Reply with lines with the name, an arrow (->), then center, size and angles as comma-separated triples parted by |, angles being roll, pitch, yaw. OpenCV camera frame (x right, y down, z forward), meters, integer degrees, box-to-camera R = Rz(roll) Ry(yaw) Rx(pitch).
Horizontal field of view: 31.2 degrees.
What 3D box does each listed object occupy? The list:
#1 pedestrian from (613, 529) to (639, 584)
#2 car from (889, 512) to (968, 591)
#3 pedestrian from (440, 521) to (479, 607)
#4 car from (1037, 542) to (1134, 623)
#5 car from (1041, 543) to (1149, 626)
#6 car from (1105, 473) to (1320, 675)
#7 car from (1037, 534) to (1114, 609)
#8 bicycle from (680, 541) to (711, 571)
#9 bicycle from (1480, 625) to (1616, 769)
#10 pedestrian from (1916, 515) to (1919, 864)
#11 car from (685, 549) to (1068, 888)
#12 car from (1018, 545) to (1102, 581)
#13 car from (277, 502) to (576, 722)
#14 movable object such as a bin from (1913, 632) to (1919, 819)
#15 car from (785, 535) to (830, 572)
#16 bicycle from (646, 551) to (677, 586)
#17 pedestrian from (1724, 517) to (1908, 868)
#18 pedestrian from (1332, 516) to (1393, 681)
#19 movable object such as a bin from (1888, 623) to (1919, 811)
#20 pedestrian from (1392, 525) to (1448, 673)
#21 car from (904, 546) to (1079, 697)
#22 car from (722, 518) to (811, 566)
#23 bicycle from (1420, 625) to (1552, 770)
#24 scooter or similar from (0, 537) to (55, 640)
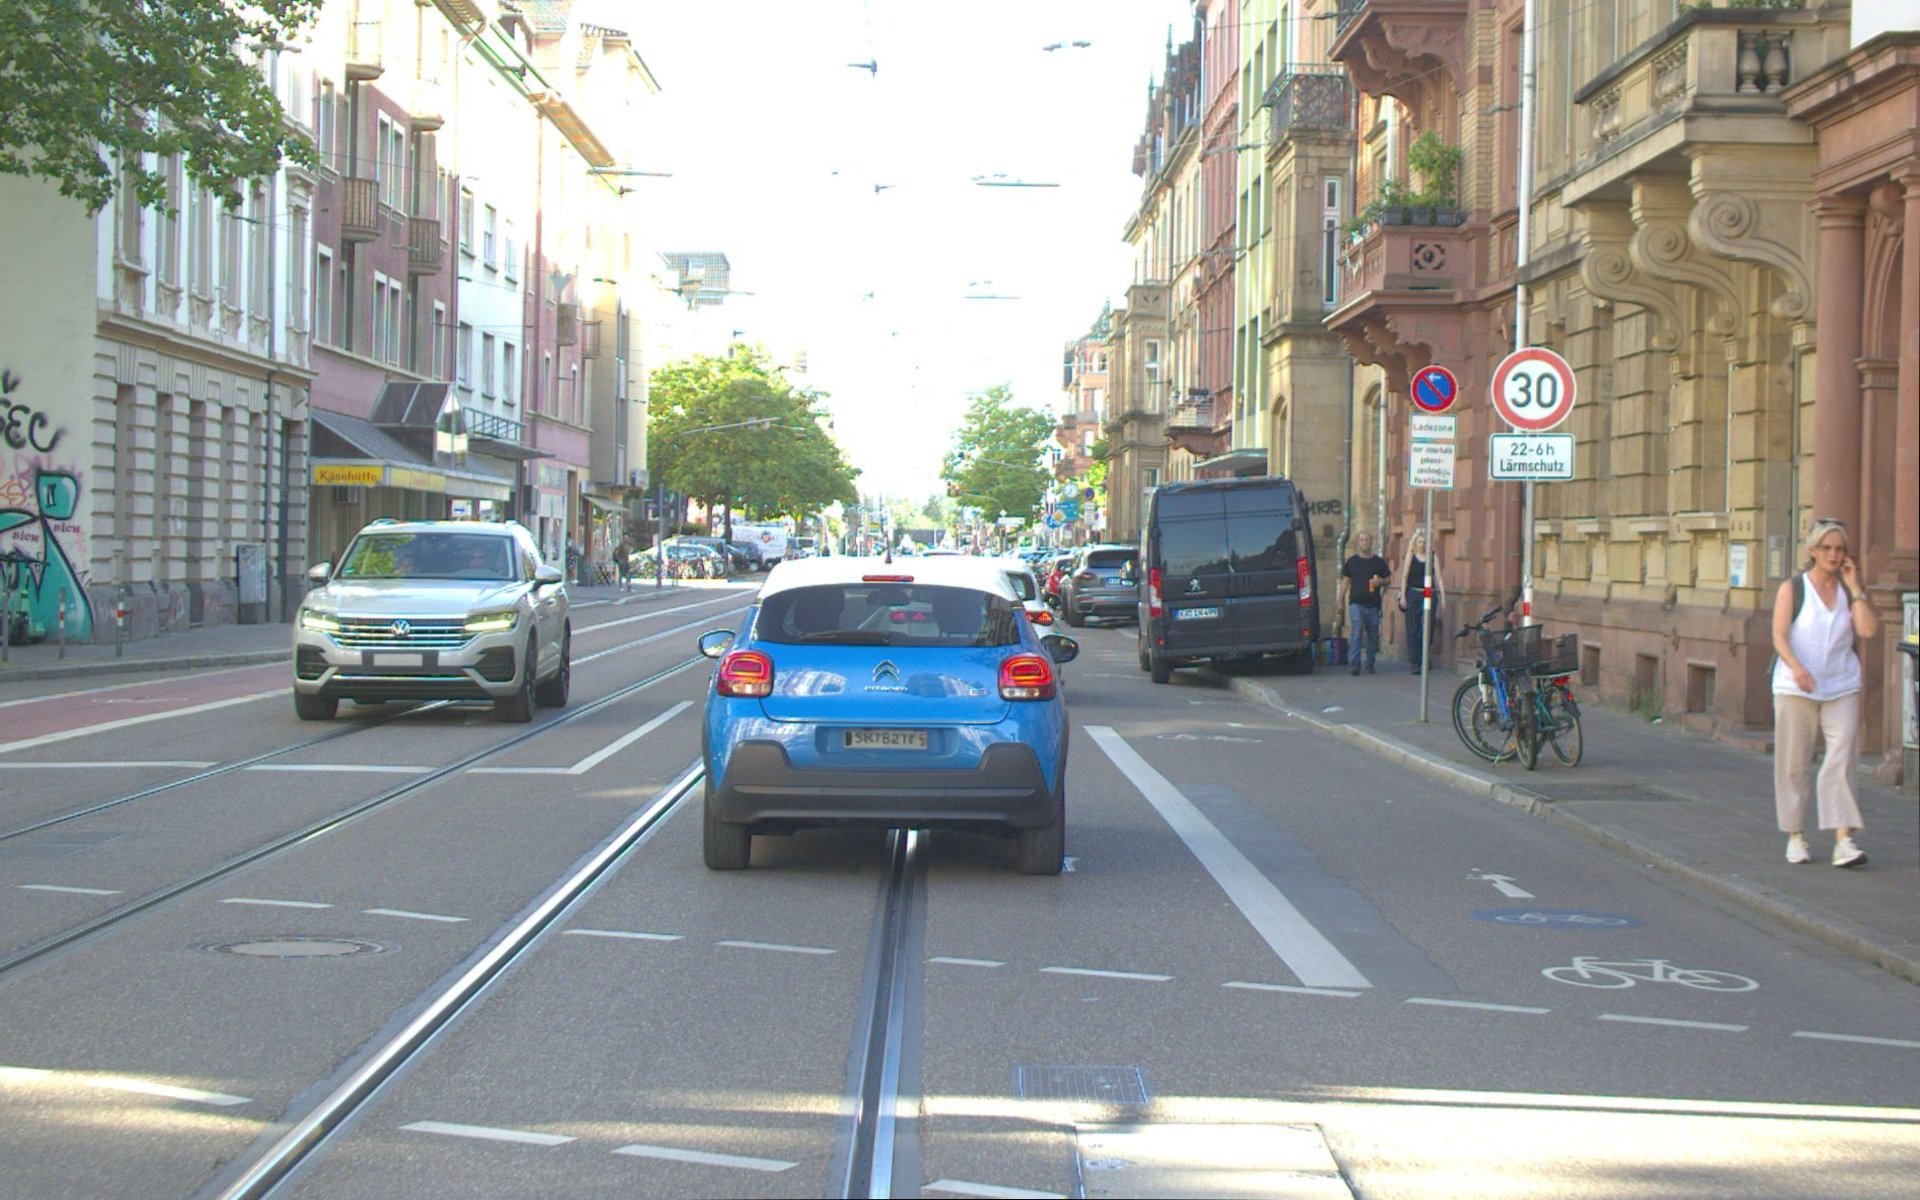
pedestrian -> -9.914, -1.292, 102.032 | 0.685, 1.633, 0.675 | 1, 1, -1
car -> -0.864, -1.293, 90.776 | 1.993, 2.007, 4.000 | 1, 1, -1
pedestrian -> -10.400, -0.753, 71.465 | 0.710, 1.758, 0.570 | 1, 1, -1
car -> 2.796, -0.419, 77.247 | 1.905, 1.751, 4.000 | 1, 1, -1
car -> 2.803, -0.350, 72.236 | 2.005, 1.667, 4.806 | 1, 1, -1
car -> 3.212, -0.362, 44.946 | 2.271, 2.428, 5.720 | 1, 1, -1
car -> 3.197, -0.827, 96.070 | 2.005, 1.666, 4.393 | 0, 6, 0
bicycle -> -10.521, -1.757, 136.758 | 1.120, 1.142, 3.645 | 1, 1, -6
bicycle -> 4.190, 0.677, 24.596 | 0.431, 0.944, 1.764 | 1, 1, -8
pedestrian -> 5.190, 0.443, 16.996 | 0.705, 1.776, 0.673 | 0, 1, -2
car -> -0.461, 0.500, 17.326 | 1.673, 1.472, 4.001 | 1, 1, -3
car -> 4.702, -1.743, 161.850 | 3.835, 1.612, 1.792 | 1, 1, -3
car -> -4.571, 0.066, 30.088 | 1.993, 1.738, 4.563 | 1, 1, -2
movable object such as a bin -> 5.858, 0.727, 19.622 | 0.666, 1.073, 0.571 | 0, 1, -1
car -> -7.130, -2.171, 160.695 | 1.993, 1.645, 4.000 | 1, 1, -1
bicycle -> -11.871, -1.258, 136.634 | 1.120, 1.315, 3.645 | 1, 1, -6
pedestrian -> 4.218, 0.445, 16.980 | 0.626, 1.695, 0.682 | 1, 1, -9
pedestrian -> 4.963, -0.024, 42.387 | 0.585, 2.007, 0.823 | 1, 1, -2
movable object such as a bin -> 5.899, 0.684, 20.278 | 0.666, 1.073, 0.571 | 1, 1, -1
pedestrian -> 5.574, -0.018, 41.682 | 0.553, 1.776, 0.606 | 1, 1, -2
car -> 0.277, 0.184, 36.056 | 1.667, 1.473, 4.000 | 1, 1, -2
car -> -10.473, -3.121, 186.111 | 4.307, 2.572, 2.210 | 0, 1, -26
bicycle -> 3.738, 0.677, 24.537 | 0.431, 0.944, 1.764 | 1, 1, -8
scooter or similar -> -12.354, -0.158, 44.825 | 0.788, 1.267, 1.075 | 4, 2, -2
